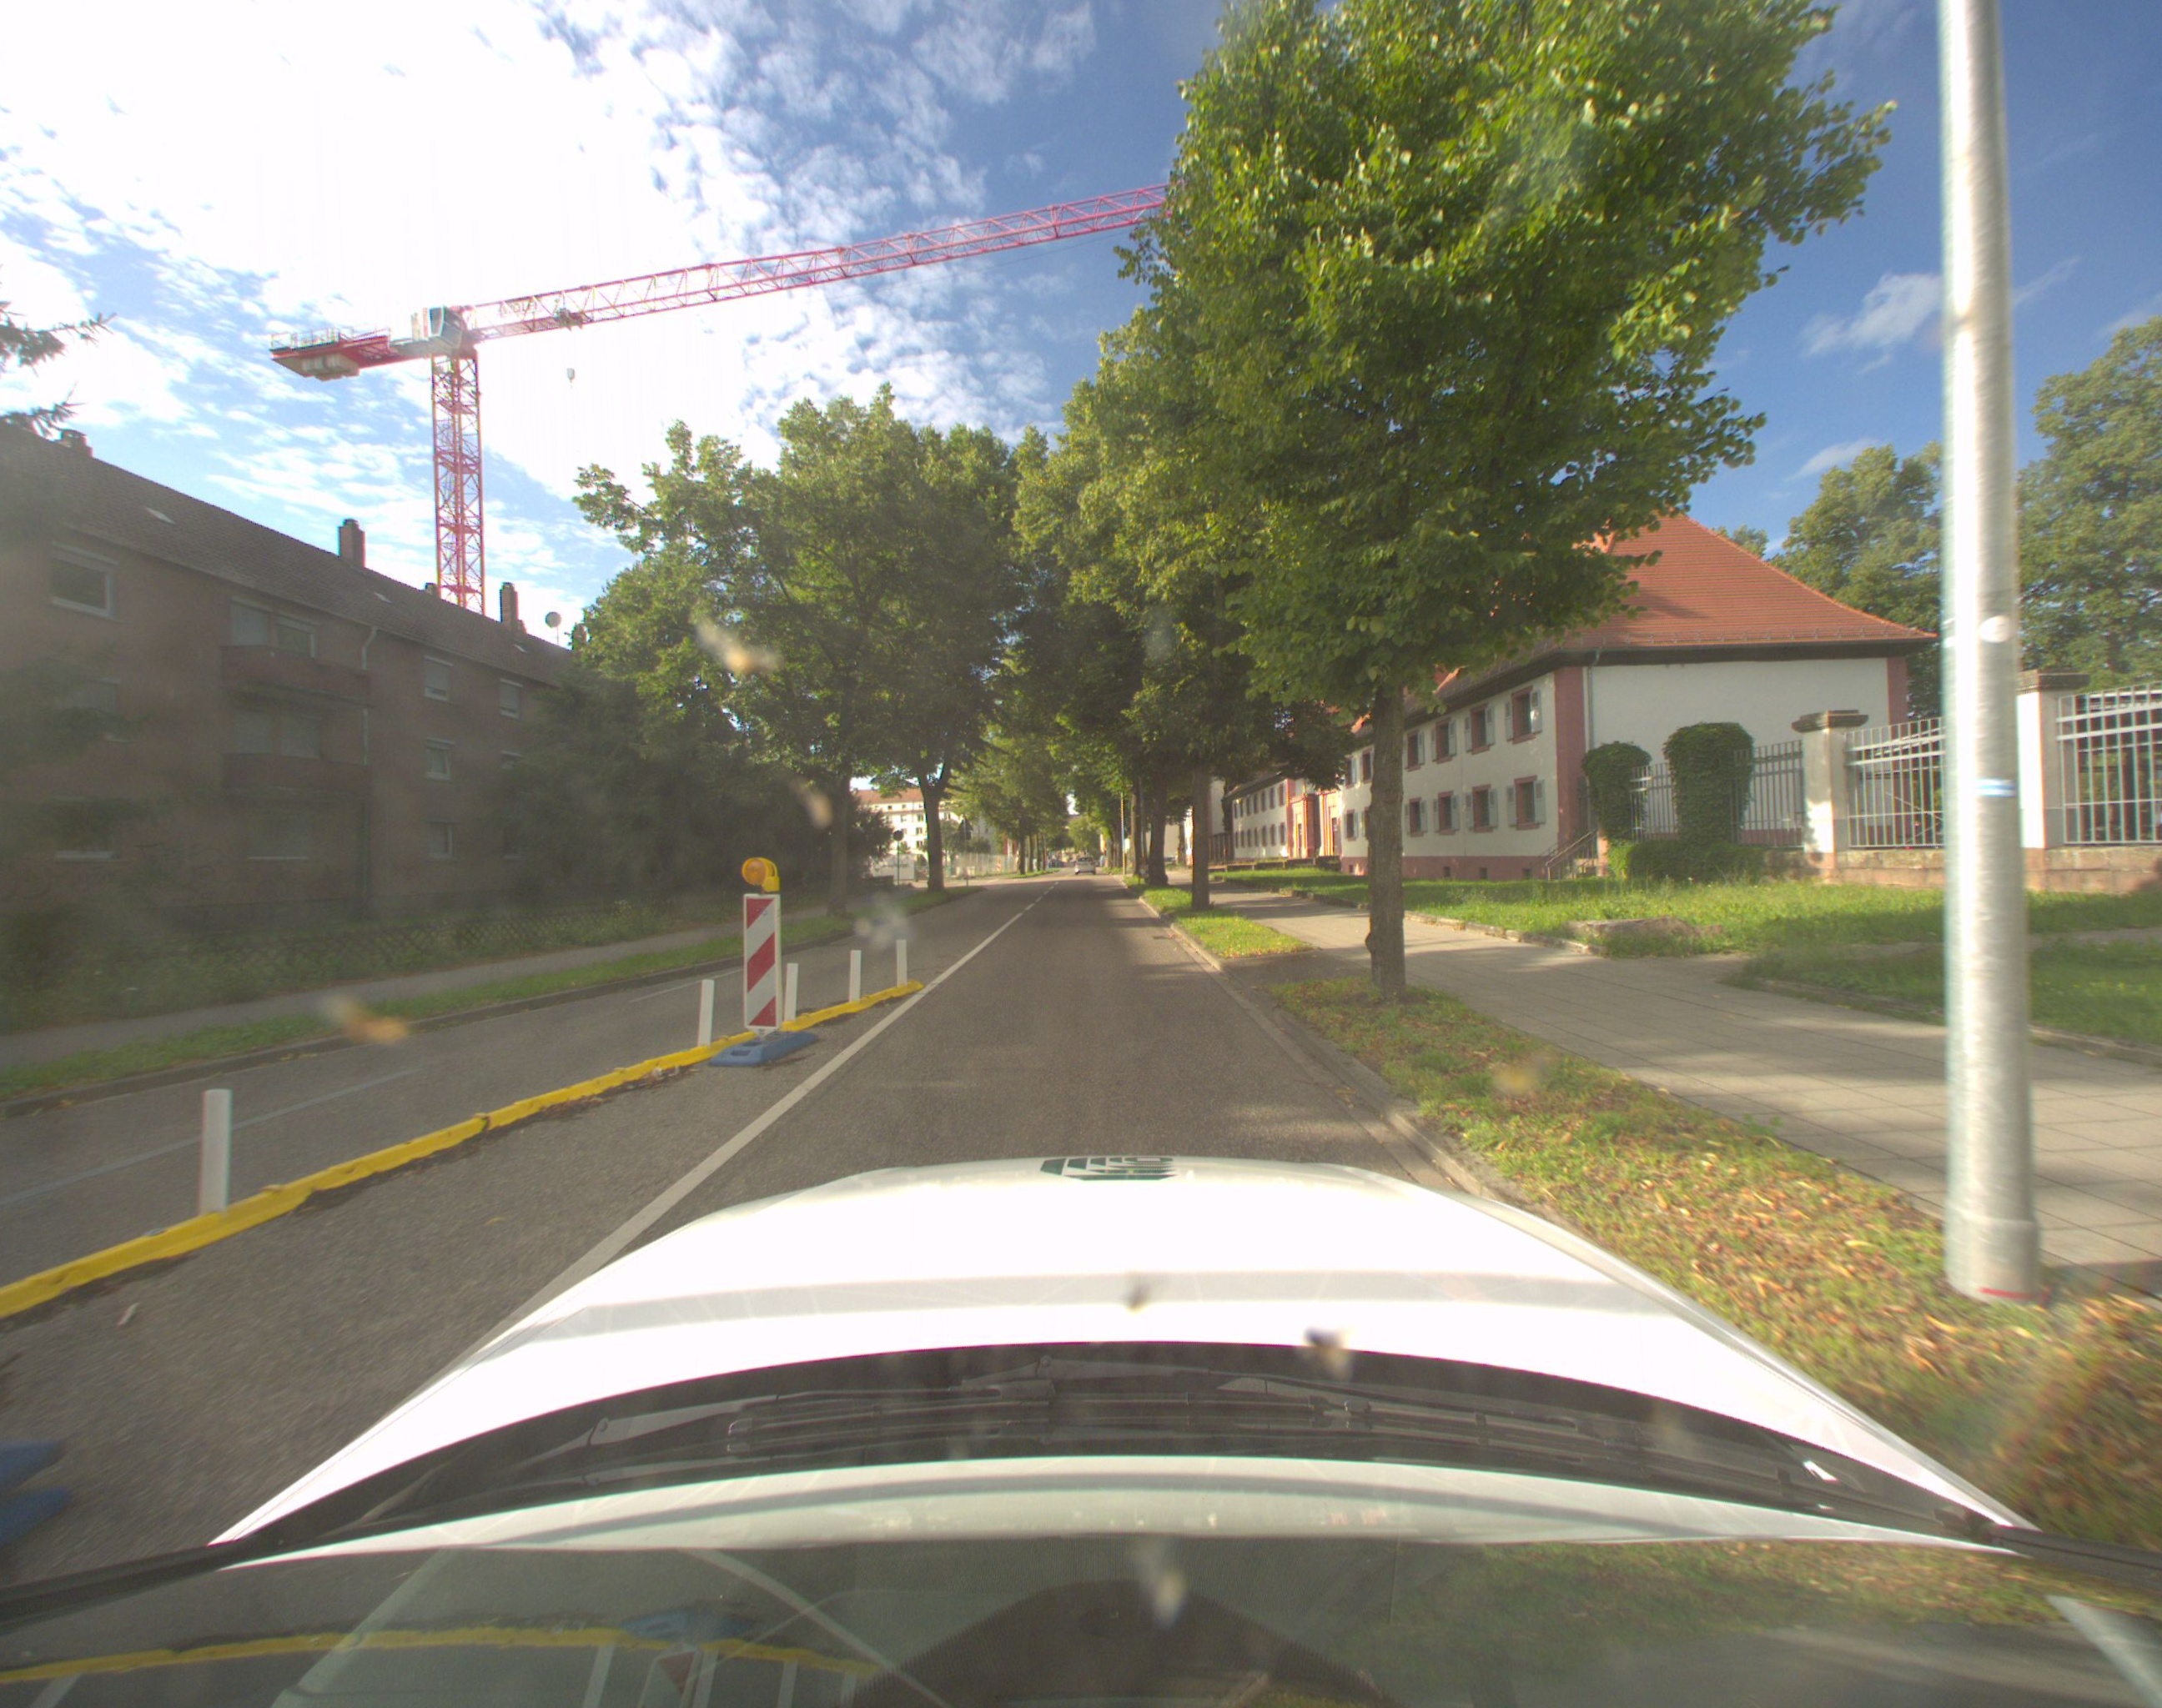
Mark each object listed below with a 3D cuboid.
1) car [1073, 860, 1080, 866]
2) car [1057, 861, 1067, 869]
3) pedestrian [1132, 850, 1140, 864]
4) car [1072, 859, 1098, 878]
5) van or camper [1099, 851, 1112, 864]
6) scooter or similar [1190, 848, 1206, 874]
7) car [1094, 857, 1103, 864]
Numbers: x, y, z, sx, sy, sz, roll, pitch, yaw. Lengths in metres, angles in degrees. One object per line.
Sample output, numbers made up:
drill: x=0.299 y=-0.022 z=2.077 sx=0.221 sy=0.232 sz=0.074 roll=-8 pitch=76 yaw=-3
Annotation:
car: x=-1.228 y=2.765 z=245.737 sx=1.987 sy=1.755 sz=4.000 roll=-1 pitch=-1 yaw=1
car: x=-4.450 y=2.571 z=191.795 sx=1.991 sy=1.640 sz=3.991 roll=-3 pitch=0 yaw=-6
pedestrian: x=6.544 y=0.382 z=97.361 sx=0.811 sy=1.590 sz=0.769 roll=-4 pitch=-1 yaw=-1
car: x=0.320 y=1.286 z=70.728 sx=1.989 sy=1.555 sz=4.269 roll=-1 pitch=-1 yaw=-3
van or camper: x=5.280 y=0.806 z=175.499 sx=2.205 sy=2.607 sz=5.364 roll=-3 pitch=0 yaw=-4
scooter or similar: x=5.999 y=0.357 z=41.761 sx=0.577 sy=1.291 sz=1.382 roll=-4 pitch=0 yaw=2
car: x=4.215 y=1.490 z=196.977 sx=1.987 sy=1.574 sz=3.999 roll=-3 pitch=0 yaw=-1
